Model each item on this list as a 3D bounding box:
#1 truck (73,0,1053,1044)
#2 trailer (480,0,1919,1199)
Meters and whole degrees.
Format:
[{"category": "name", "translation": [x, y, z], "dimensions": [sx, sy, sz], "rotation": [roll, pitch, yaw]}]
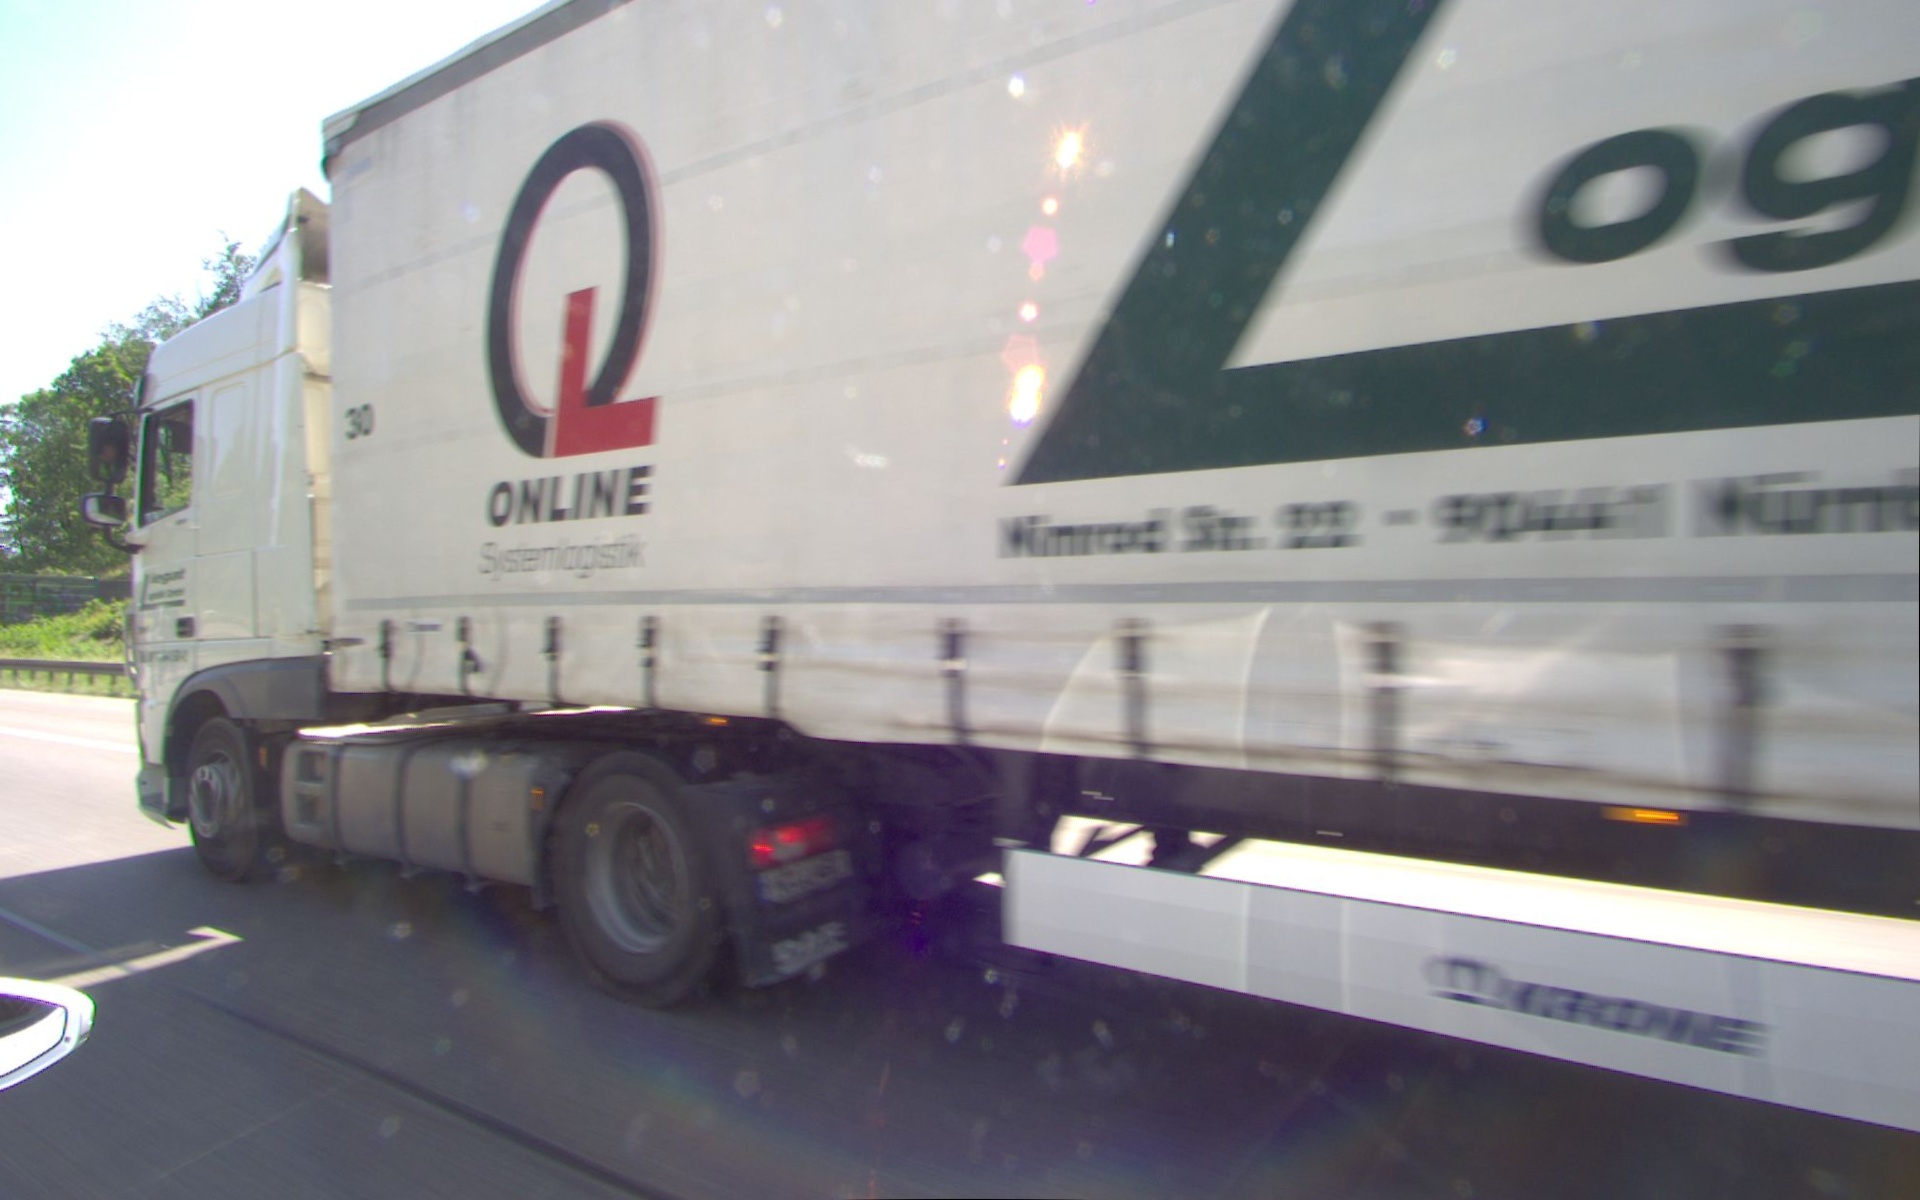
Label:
[{"category": "truck", "translation": [-2.650, -0.517, 6.281], "dimensions": [5.784, 4.259, 2.782], "rotation": [0, -1, 32]}, {"category": "trailer", "translation": [4.336, -0.571, 1.808], "dimensions": [13.050, 4.259, 2.782], "rotation": [0, -1, 32]}]
